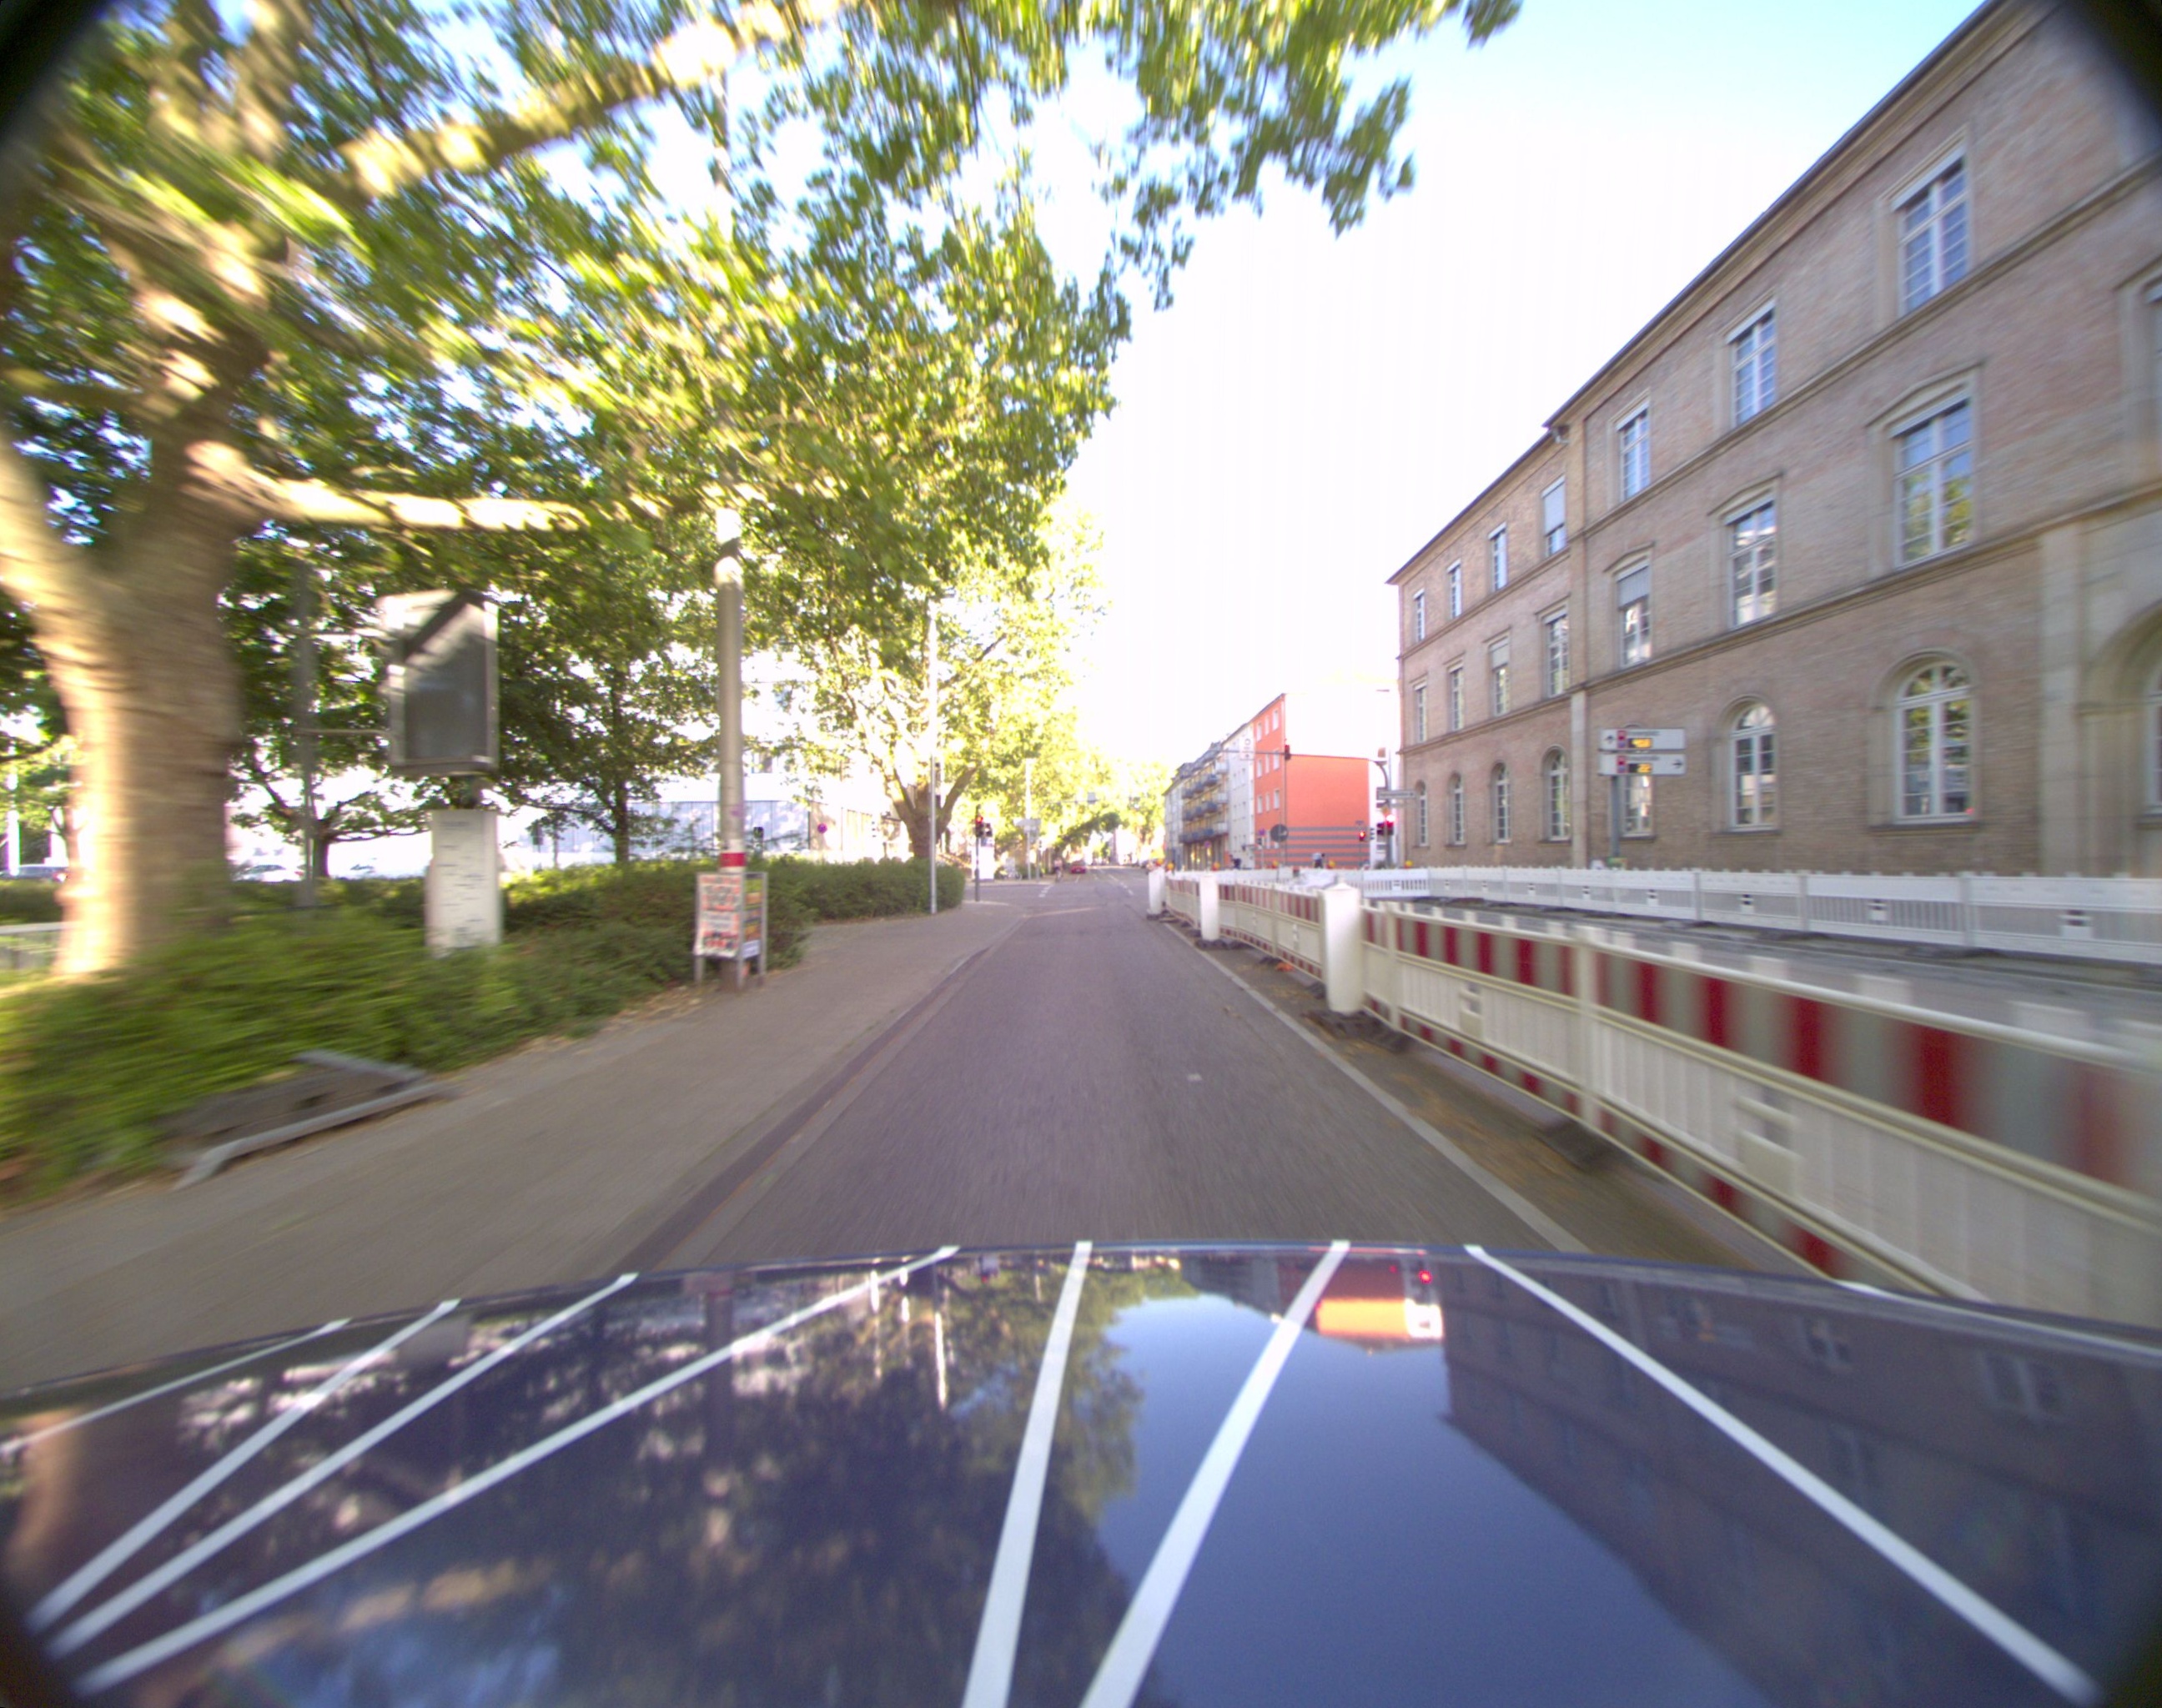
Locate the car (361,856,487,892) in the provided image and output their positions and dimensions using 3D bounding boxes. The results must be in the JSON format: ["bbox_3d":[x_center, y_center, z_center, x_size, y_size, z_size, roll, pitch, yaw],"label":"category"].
[{"bbox_3d":[-34.283,1.009,39.750,4.717,1.818,2.109,0,0,-2],"label":"car"}]

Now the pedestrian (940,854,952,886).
[{"bbox_3d":[-7.785,0.928,43.722,0.604,1.828,0.569,-1,0,-15],"label":"pedestrian"}]

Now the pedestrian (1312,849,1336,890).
[{"bbox_3d":[10.514,0.677,32.880,0.883,1.761,0.748,-1,0,10],"label":"pedestrian"}]

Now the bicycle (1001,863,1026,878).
[{"bbox_3d":[-4.761,1.193,53.688,1.638,0.993,0.621,1,2,-25],"label":"bicycle"}]

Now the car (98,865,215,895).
[{"bbox_3d":[-47.012,1.313,38.687,3.848,1.476,1.630,0,0,-2],"label":"car"}]

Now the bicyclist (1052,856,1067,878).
[{"bbox_3d":[-1.570,0.948,55.817,0.949,1.630,1.008,-1,0,8],"label":"bicyclist"}]

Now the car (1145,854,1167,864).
[{"bbox_3d":[14.171,0.936,142.779,3.996,1.689,1.834,0,0,2],"label":"car"}]

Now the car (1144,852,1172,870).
[{"bbox_3d":[7.965,0.669,79.226,1.999,1.806,5.123,0,0,-5],"label":"car"}]

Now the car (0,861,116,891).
[{"bbox_3d":[-51.775,1.099,38.390,3.848,1.476,1.630,0,0,-2],"label":"car"}]

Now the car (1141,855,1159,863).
[{"bbox_3d":[15.295,1.042,168.572,3.996,1.689,1.834,0,0,2],"label":"car"}]

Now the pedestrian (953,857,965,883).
[{"bbox_3d":[-7.021,0.908,43.746,0.673,1.515,0.560,-1,0,-12],"label":"pedestrian"}]

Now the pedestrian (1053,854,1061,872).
[{"bbox_3d":[-2.471,0.937,77.197,0.671,1.786,0.665,-4,1,-5],"label":"pedestrian"}]

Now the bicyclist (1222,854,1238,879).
[{"bbox_3d":[8.279,0.681,42.221,0.837,1.364,0.793,1,-1,13],"label":"bicyclist"}]

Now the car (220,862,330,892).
[{"bbox_3d":[-41.554,1.170,39.241,3.848,1.476,1.630,0,0,-2],"label":"car"}]

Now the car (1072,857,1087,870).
[{"bbox_3d":[-0.214,1.192,96.548,1.786,1.520,4.657,-1,0,-1],"label":"car"}]

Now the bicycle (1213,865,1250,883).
[{"bbox_3d":[8.348,1.105,42.186,1.989,0.993,0.791,1,-2,13],"label":"bicycle"}]

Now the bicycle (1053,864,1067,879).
[{"bbox_3d":[-1.513,1.313,55.825,0.703,1.060,1.930,-1,-2,8],"label":"bicycle"}]
